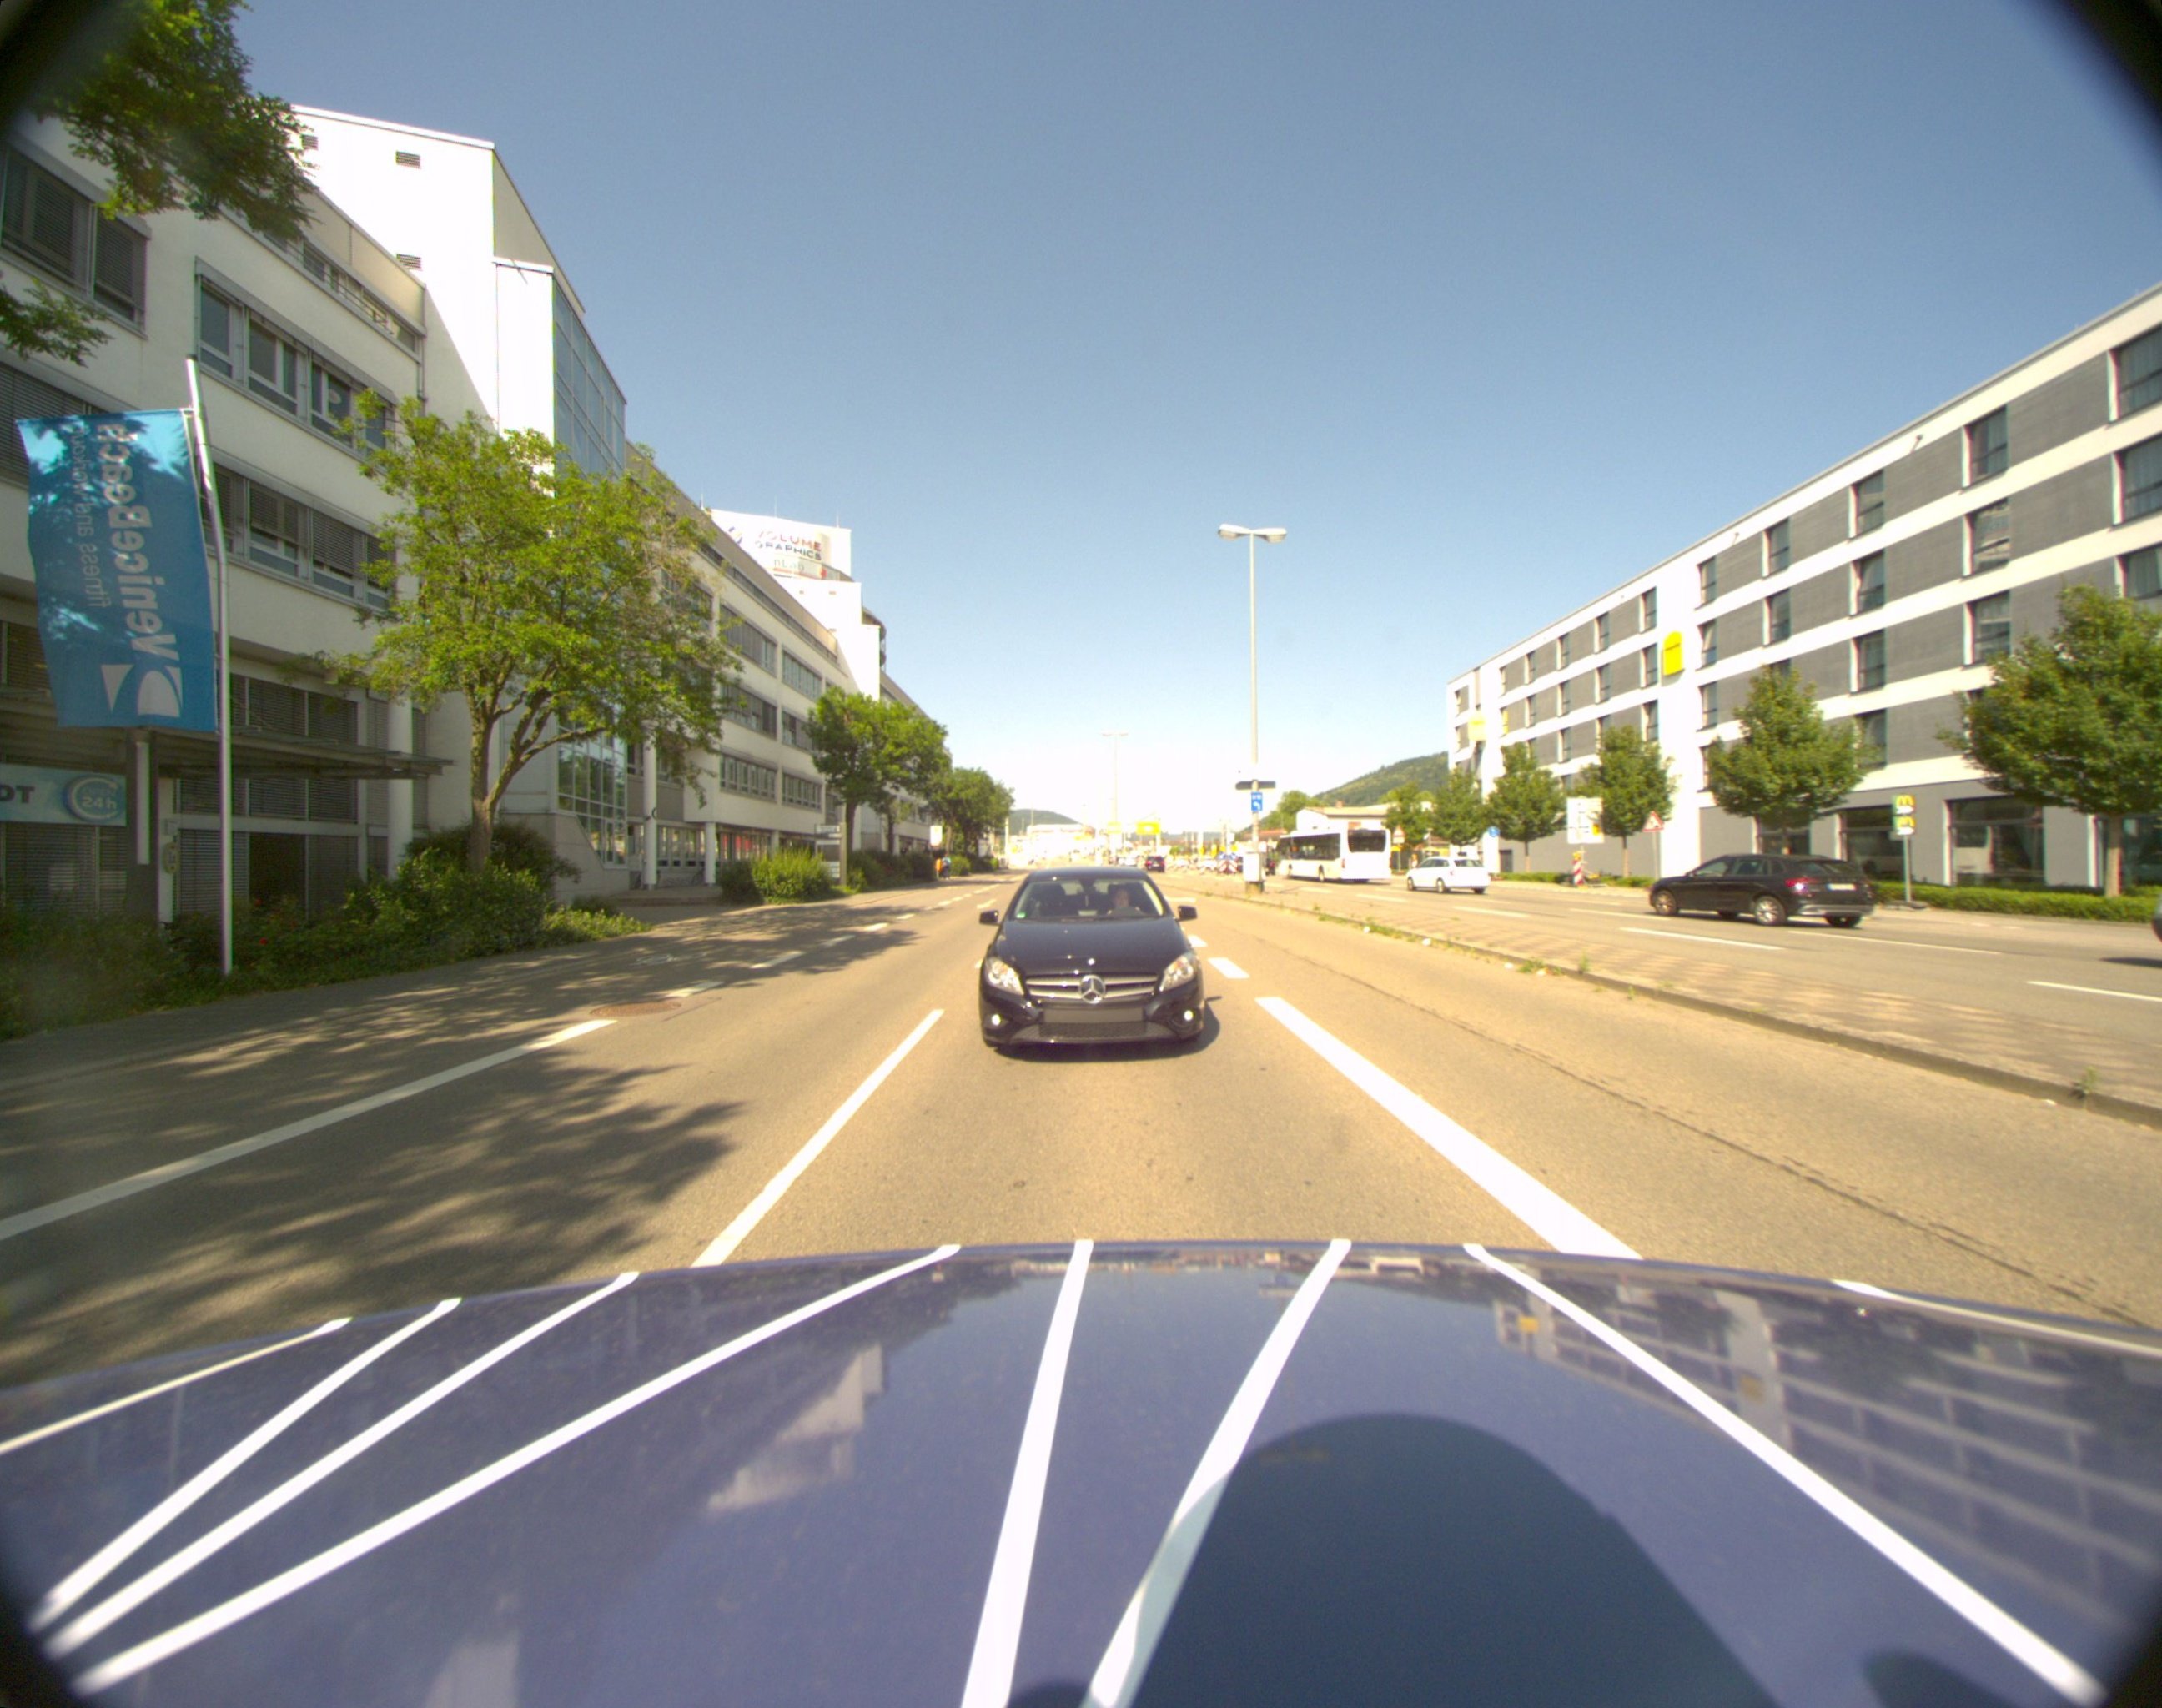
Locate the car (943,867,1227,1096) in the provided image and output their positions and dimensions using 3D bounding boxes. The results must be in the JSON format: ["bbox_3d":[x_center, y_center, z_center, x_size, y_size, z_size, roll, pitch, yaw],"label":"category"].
[{"bbox_3d":[0.051,0.906,7.503,1.905,1.431,4.693,-1,0,1],"label":"car"}]

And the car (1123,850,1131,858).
[{"bbox_3d":[12.341,-0.062,204.446,1.998,2.002,4.000,0,0,1],"label":"car"}]

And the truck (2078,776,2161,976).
[{"bbox_3d":[14.805,0.326,7.140,2.363,2.530,6.436,1,1,1],"label":"truck"}]

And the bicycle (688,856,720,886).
[{"bbox_3d":[-17.722,0.799,35.754,0.506,1.346,1.884,-1,0,1],"label":"bicycle"}]

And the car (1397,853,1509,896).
[{"bbox_3d":[14.685,0.746,30.331,1.999,1.477,4.410,2,1,-5],"label":"car"}]

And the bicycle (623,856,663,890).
[{"bbox_3d":[-18.063,0.753,31.357,0.506,1.346,1.884,-1,0,1],"label":"bicycle"}]

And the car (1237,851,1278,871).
[{"bbox_3d":[13.701,0.522,59.180,1.998,1.424,4.890,-1,0,0],"label":"car"}]

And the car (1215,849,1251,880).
[{"bbox_3d":[10.717,0.719,53.793,1.679,2.002,4.164,-2,1,1],"label":"car"}]

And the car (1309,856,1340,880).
[{"bbox_3d":[13.804,0.784,43.104,1.058,1.200,2.220,-2,1,2],"label":"car"}]

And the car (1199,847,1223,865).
[{"bbox_3d":[14.317,0.213,83.831,1.999,2.002,3.999,-1,0,0],"label":"car"}]

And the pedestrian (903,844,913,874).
[{"bbox_3d":[-14.825,0.415,65.100,0.717,2.534,0.716,-1,1,-1],"label":"pedestrian"}]

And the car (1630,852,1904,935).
[{"bbox_3d":[15.070,0.770,17.125,1.999,1.569,4.410,1,1,-4],"label":"car"}]

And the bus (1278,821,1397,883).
[{"bbox_3d":[14.454,-0.155,44.221,2.745,3.061,11.974,1,0,0],"label":"bus"}]

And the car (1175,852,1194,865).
[{"bbox_3d":[13.716,0.612,101.028,1.719,1.609,3.590,-1,0,-5],"label":"car"}]

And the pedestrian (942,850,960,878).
[{"bbox_3d":[-9.212,0.699,53.931,0.942,1.875,1.289,2,1,0],"label":"pedestrian"}]

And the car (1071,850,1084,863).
[{"bbox_3d":[-0.578,0.442,133.366,1.998,2.002,4.000,-2,1,2],"label":"car"}]

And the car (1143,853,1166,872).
[{"bbox_3d":[6.508,0.724,67.640,1.889,1.608,4.135,-1,0,4],"label":"car"}]

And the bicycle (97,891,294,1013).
[{"bbox_3d":[-11.264,1.181,9.769,0.506,1.321,1.883,0,0,-8],"label":"bicycle"}]

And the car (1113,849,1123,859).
[{"bbox_3d":[7.893,-0.058,162.021,1.998,2.002,3.999,-2,1,1],"label":"car"}]
